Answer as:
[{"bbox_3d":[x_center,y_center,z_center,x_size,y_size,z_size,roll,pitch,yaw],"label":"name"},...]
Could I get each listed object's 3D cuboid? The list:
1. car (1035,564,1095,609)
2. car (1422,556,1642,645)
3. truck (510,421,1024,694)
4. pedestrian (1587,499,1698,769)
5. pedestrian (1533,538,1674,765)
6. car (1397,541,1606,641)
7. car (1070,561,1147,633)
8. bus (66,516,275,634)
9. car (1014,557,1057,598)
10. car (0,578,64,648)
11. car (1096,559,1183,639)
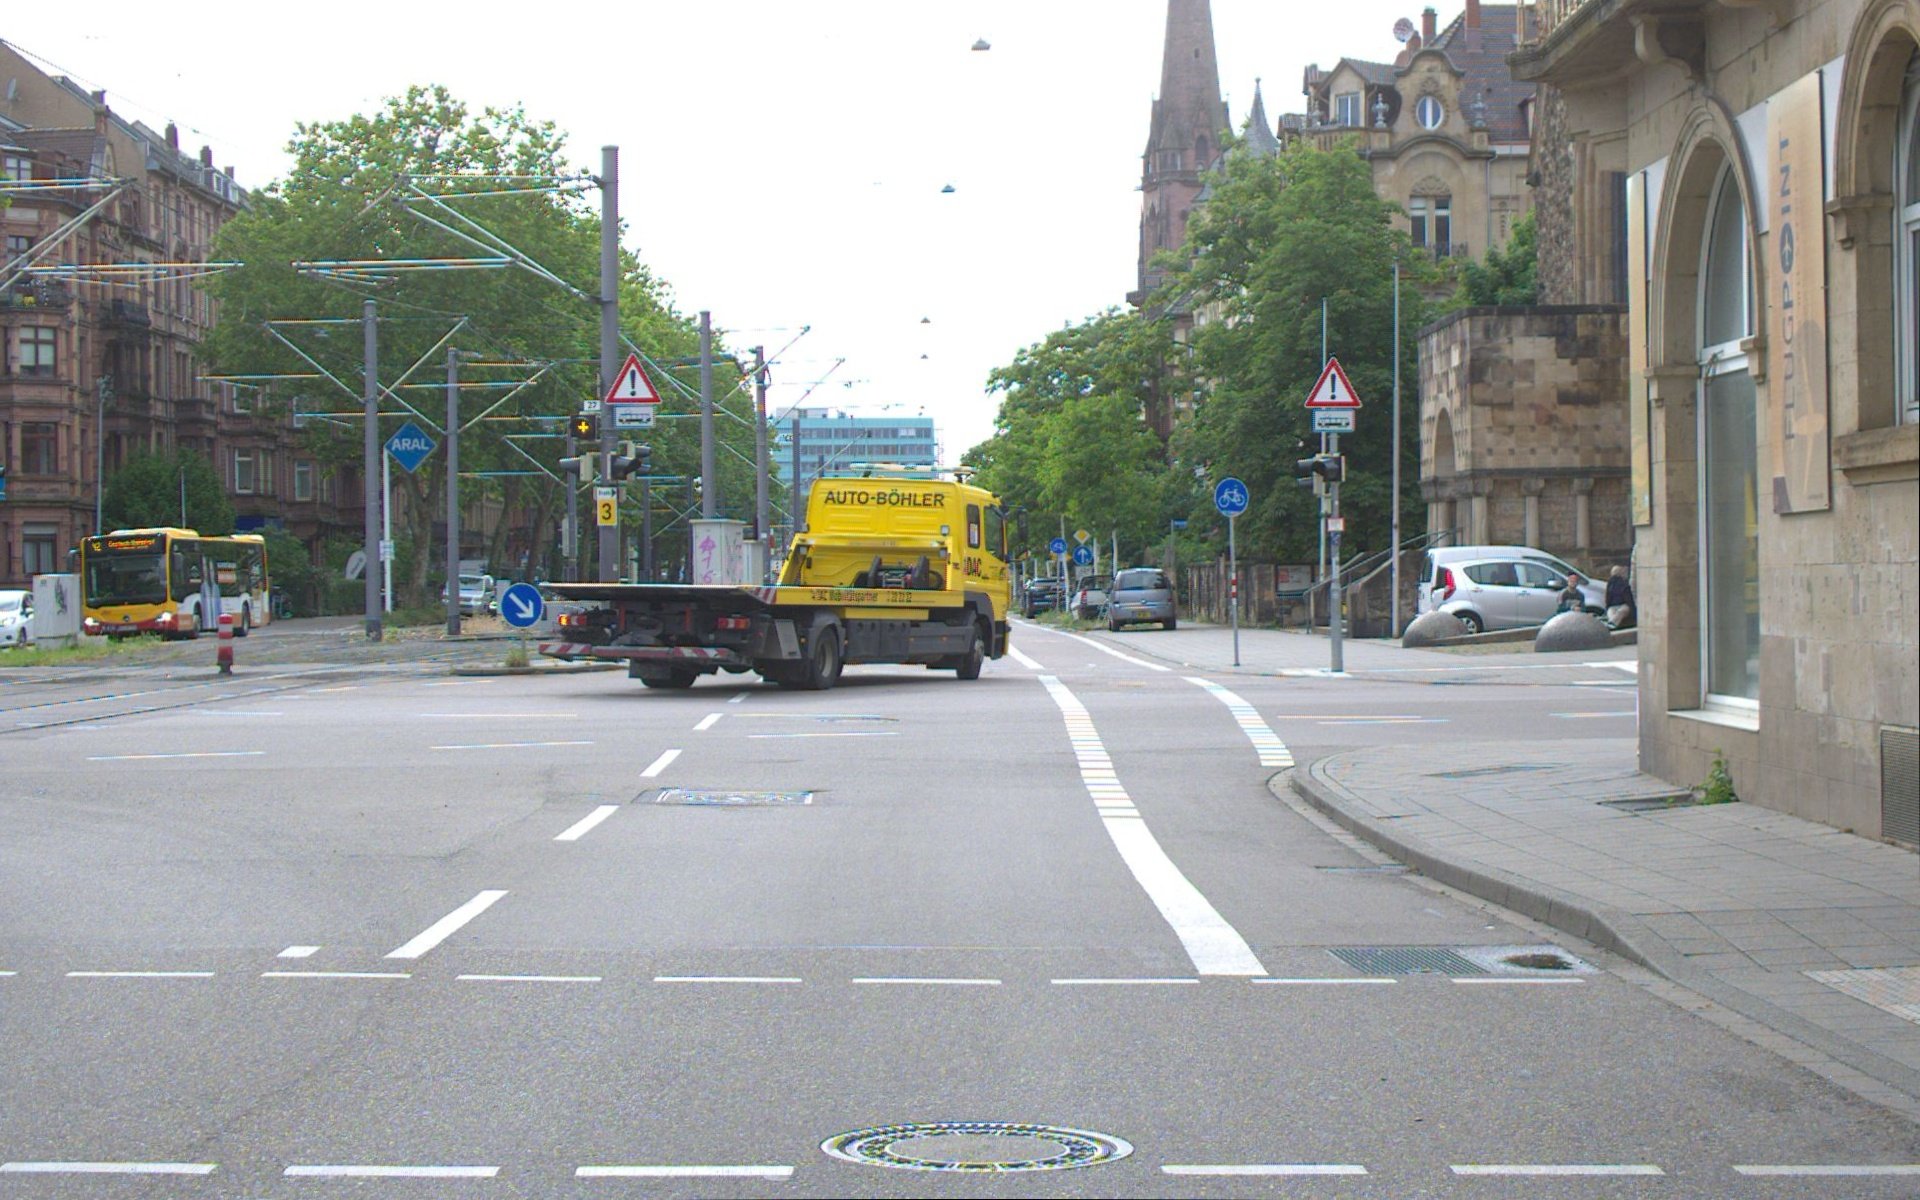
[{"bbox_3d":[3.905,-0.496,128.494,1.993,1.602,4.164,-2,0,-1],"label":"car"},{"bbox_3d":[10.768,-0.003,64.917,3.799,1.595,2.000,1,0,0],"label":"car"},{"bbox_3d":[-2.041,-0.511,42.151,2.631,2.931,10.170,1,1,19],"label":"truck"},{"bbox_3d":[4.701,0.225,23.652,0.583,1.807,1.014,1,0,19],"label":"pedestrian"},{"bbox_3d":[4.798,0.374,25.607,0.627,1.647,0.994,1,0,37],"label":"pedestrian"},{"bbox_3d":[10.731,-0.175,68.327,3.799,1.897,2.000,1,0,0],"label":"car"},{"bbox_3d":[4.282,-0.102,99.680,1.993,2.007,4.000,1,0,-1],"label":"car"},{"bbox_3d":[-22.372,-0.717,98.261,3.084,3.101,13.094,1,0,-1],"label":"bus"},{"bbox_3d":[3.758,-1.111,172.606,1.993,2.007,4.000,1,0,-1],"label":"car"},{"bbox_3d":[-22.079,0.283,79.164,1.894,1.552,3.836,1,0,-1],"label":"car"},{"bbox_3d":[4.687,-0.039,90.119,1.993,2.007,4.000,1,0,-1],"label":"car"}]
